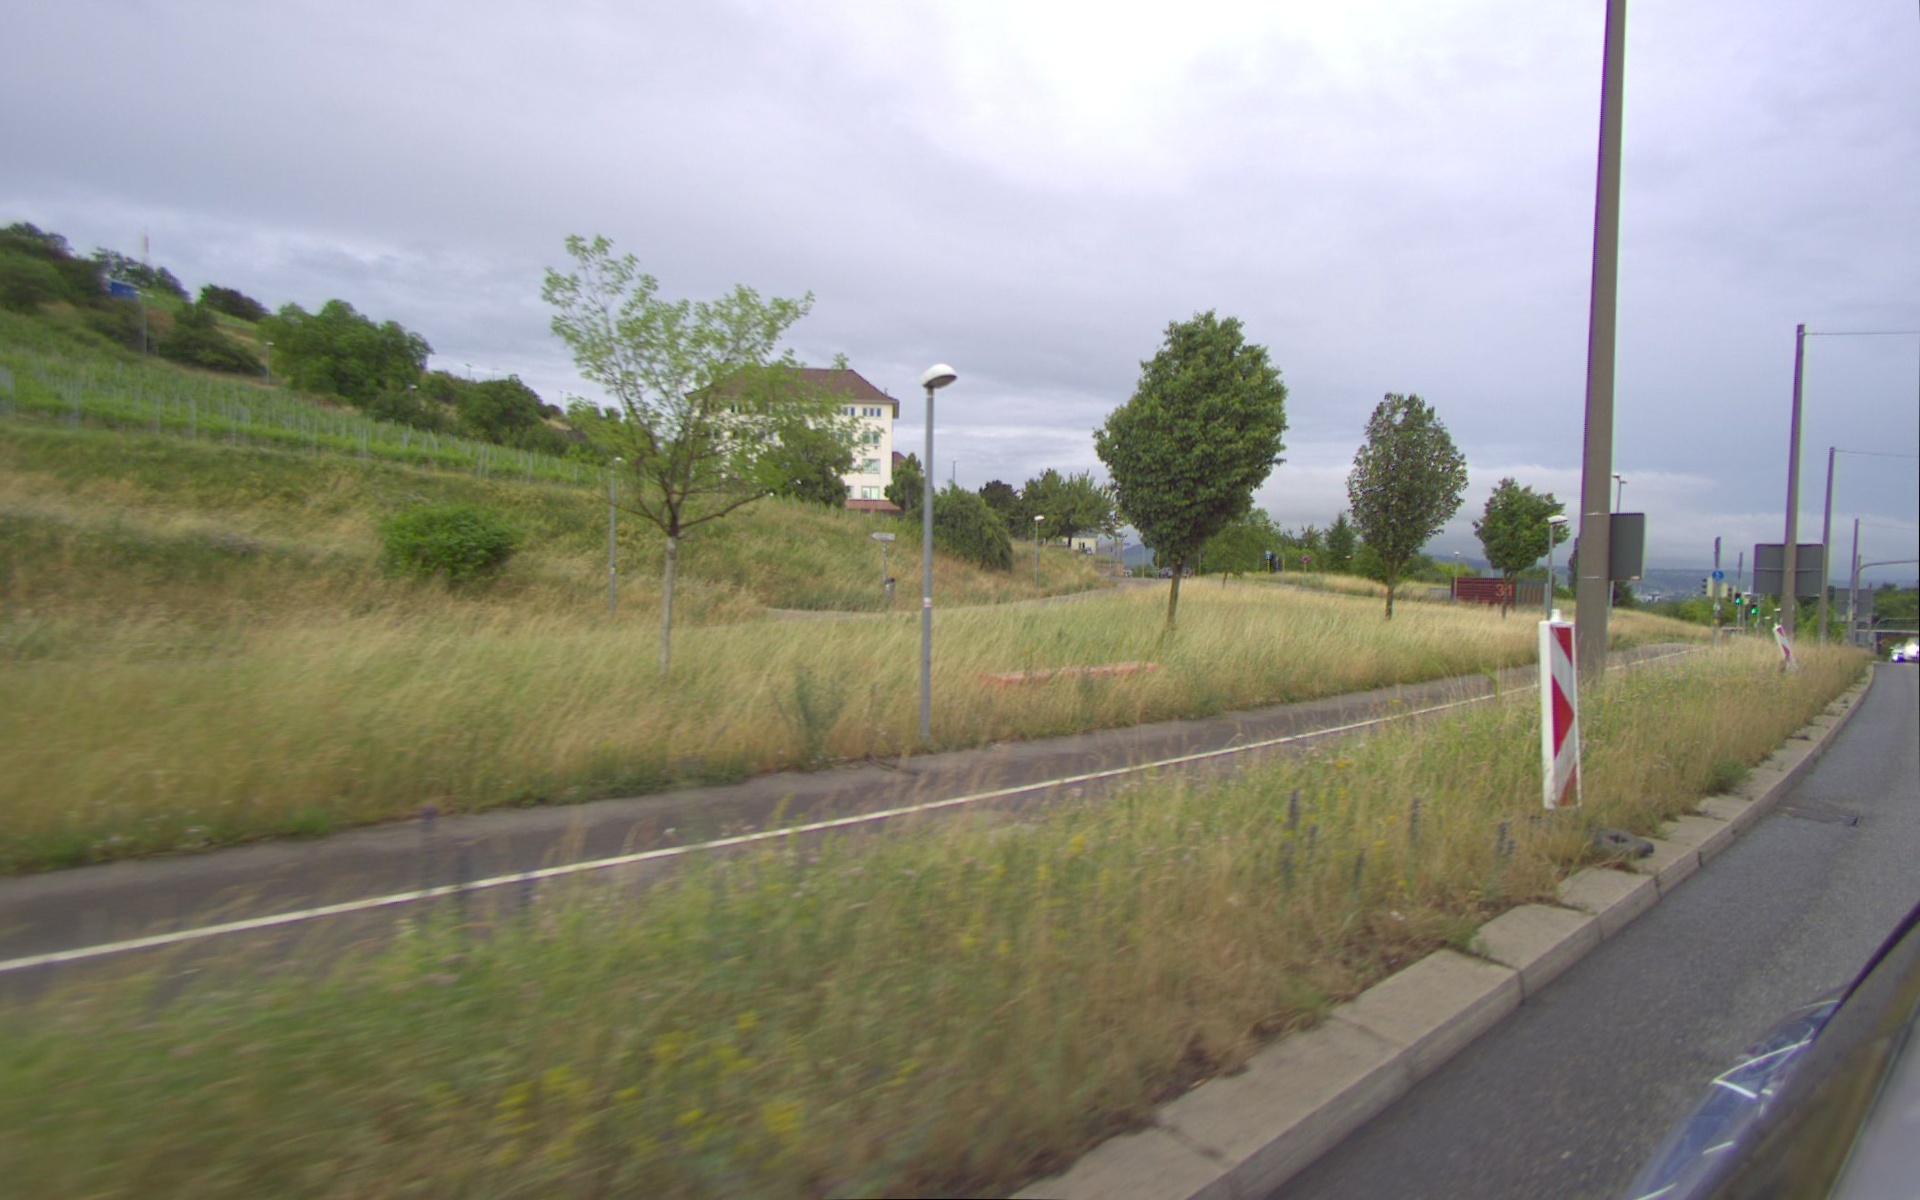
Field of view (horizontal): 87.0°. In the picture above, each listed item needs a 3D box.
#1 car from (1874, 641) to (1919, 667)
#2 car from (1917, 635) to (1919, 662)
[{"bbox_3d":[65.871,3.813,71.136,4.549,1.663,1.996,3,-3,-43],"label":"car"},{"bbox_3d":[57.428,2.904,59.182,4.153,1.541,1.724,4,-1,-42],"label":"car"}]
